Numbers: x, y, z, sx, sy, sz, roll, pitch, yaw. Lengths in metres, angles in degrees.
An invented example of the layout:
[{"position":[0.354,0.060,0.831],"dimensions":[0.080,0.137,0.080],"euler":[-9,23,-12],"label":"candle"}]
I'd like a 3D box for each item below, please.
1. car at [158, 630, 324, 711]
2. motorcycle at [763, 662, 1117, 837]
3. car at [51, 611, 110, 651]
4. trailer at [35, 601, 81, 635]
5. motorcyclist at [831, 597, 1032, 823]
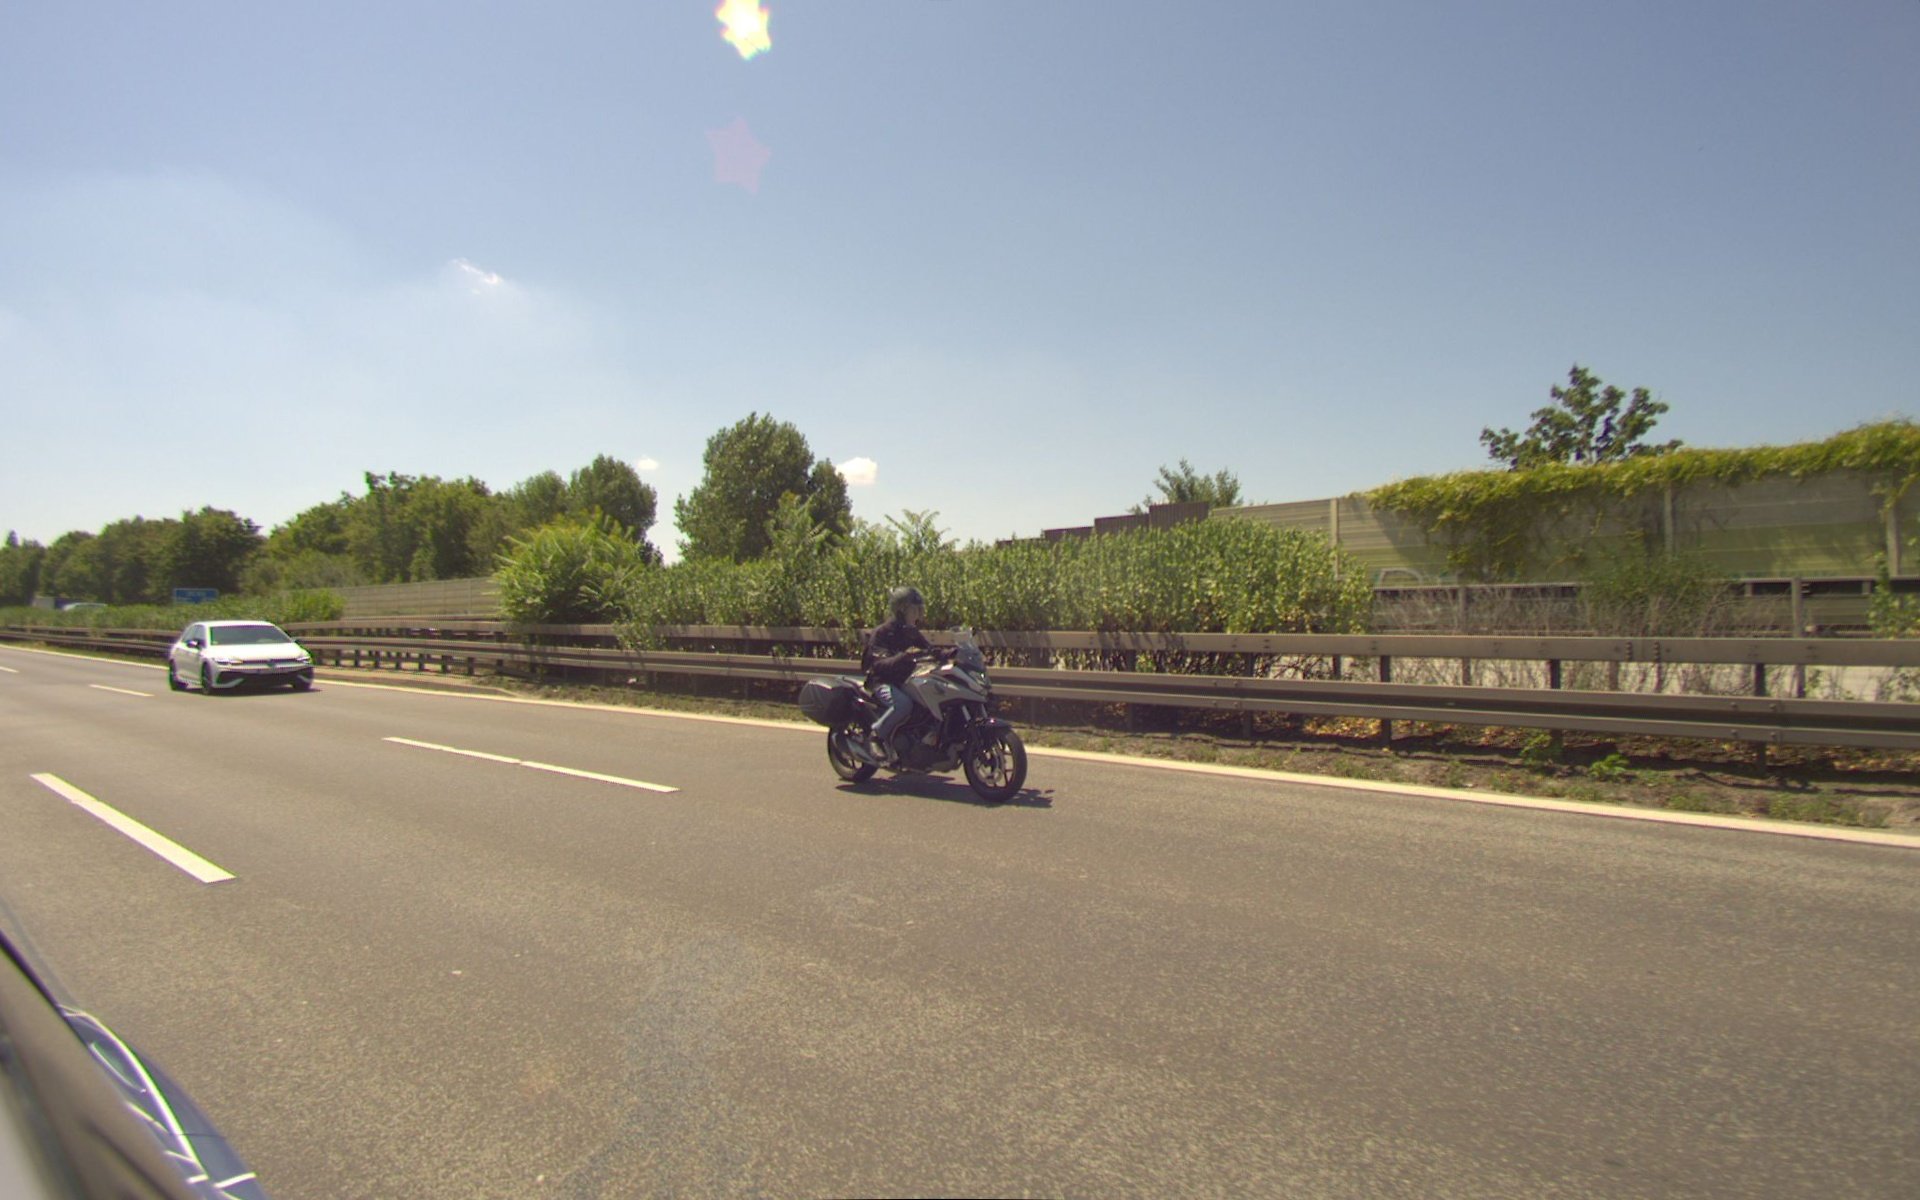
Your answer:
[{"position":[-14.983,1.376,20.982],"dimensions":[4.666,1.451,1.763],"euler":[-1,-1,41],"label":"car"},{"position":[-0.251,1.071,7.989],"dimensions":[2.845,1.097,0.904],"euler":[-2,-1,38],"label":"motorcycle"},{"position":[-62.945,2.190,72.396],"dimensions":[6.214,2.779,2.218],"euler":[-1,-1,39],"label":"car"},{"position":[-107.962,2.170,121.019],"dimensions":[13.670,3.882,2.677],"euler":[-1,-1,42],"label":"trailer"},{"position":[-0.229,0.800,7.969],"dimensions":[1.297,1.609,0.885],"euler":[-2,-1,38],"label":"motorcyclist"}]
